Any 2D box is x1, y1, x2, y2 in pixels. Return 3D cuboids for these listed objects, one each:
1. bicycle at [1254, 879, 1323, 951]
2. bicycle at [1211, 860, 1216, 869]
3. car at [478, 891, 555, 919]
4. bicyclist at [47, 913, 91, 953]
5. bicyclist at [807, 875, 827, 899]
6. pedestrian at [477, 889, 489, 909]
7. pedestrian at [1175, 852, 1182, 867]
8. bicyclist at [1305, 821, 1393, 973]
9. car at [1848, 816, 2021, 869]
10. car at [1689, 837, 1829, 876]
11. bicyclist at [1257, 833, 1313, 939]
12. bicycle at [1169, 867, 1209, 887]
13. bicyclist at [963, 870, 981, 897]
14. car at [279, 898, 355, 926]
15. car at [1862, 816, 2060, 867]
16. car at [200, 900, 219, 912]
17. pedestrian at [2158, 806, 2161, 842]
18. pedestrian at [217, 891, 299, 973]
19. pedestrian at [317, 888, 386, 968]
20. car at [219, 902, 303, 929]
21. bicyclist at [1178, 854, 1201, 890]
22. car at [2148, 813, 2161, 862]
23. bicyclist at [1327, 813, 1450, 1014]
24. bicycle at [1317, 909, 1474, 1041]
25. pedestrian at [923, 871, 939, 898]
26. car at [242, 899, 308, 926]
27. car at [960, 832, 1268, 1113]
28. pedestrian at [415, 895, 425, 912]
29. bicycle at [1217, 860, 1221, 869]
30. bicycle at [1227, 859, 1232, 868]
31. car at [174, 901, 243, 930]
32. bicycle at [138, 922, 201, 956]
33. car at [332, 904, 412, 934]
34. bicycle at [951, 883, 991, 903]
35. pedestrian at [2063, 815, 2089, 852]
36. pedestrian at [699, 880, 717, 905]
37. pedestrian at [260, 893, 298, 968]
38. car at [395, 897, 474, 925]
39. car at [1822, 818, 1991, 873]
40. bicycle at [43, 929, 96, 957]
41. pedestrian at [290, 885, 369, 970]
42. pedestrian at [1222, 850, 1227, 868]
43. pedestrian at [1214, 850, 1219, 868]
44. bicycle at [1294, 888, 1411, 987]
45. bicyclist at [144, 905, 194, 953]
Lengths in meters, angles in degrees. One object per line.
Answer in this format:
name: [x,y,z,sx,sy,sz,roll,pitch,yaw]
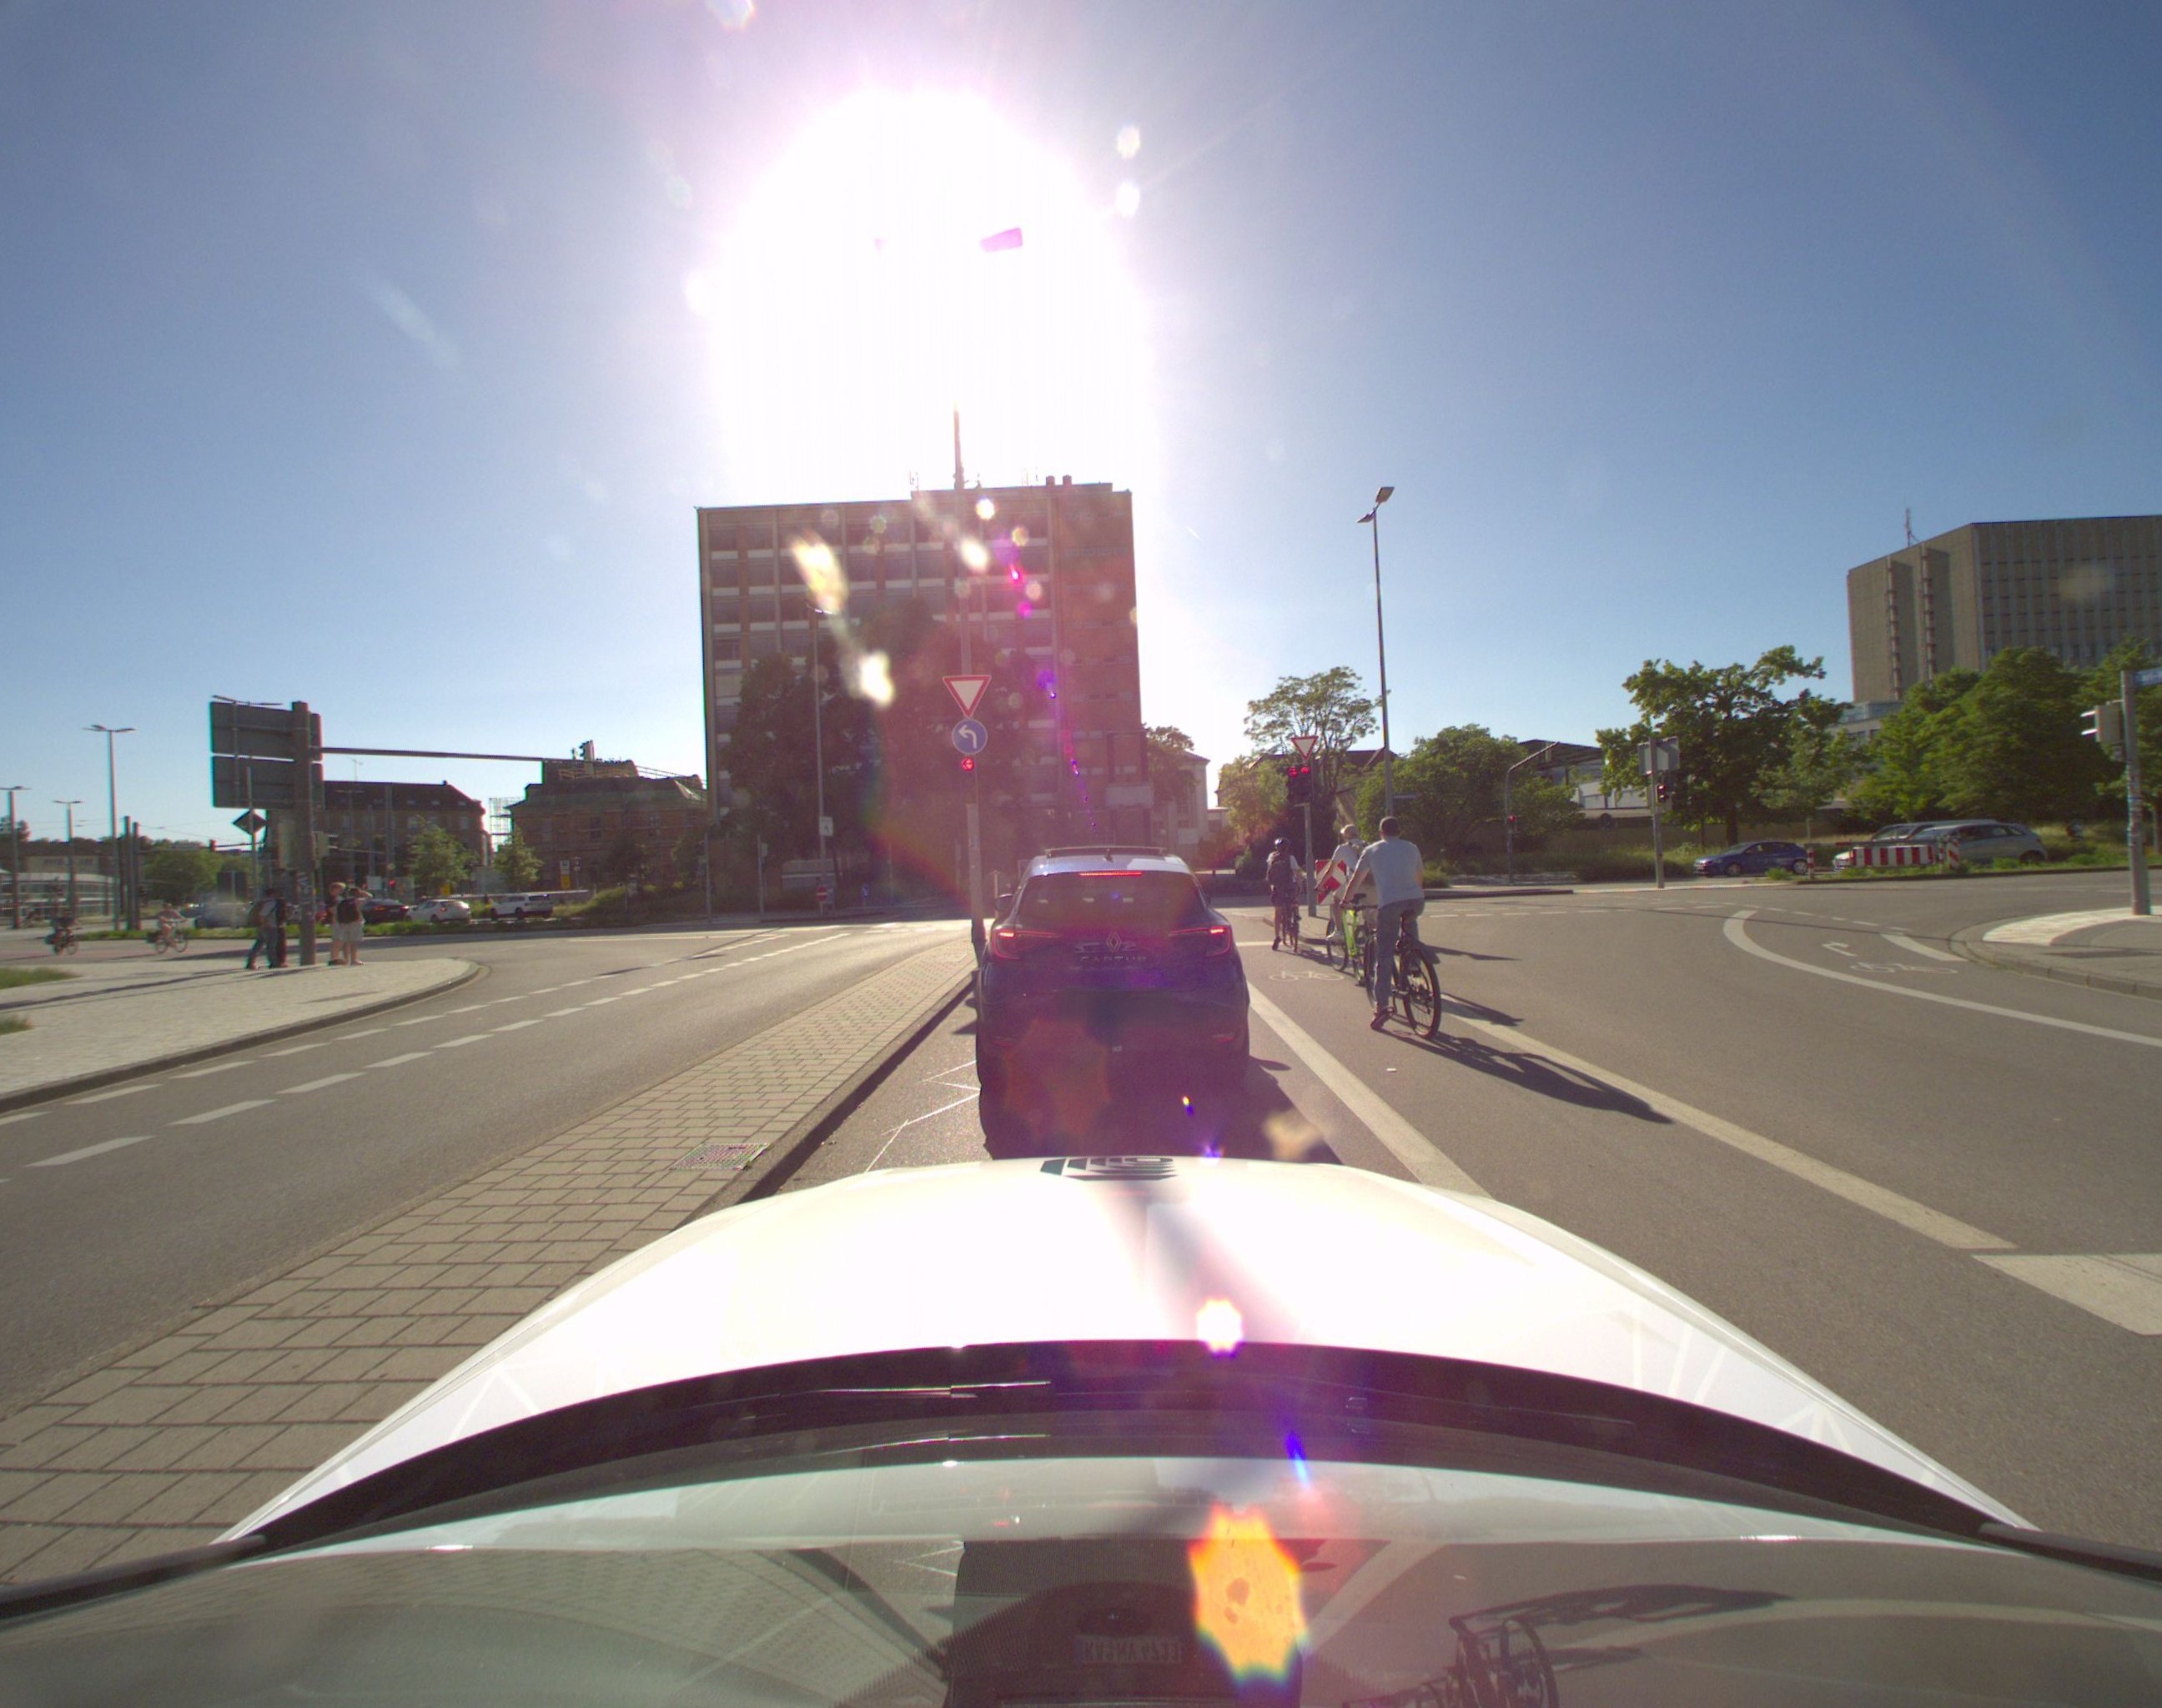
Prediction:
bicycle: [3.249,0.927,12.936,0.735,0.995,2.177,0,-1,6]
bicycle: [15.259,1.227,93.883,0.403,0.973,1.686,0,-1,6]
car: [-36.437,3.270,52.538,4.779,1.632,1.855,-2,-1,25]
bicyclist: [-38.834,3.030,31.245,1.114,1.422,0.691,-5,-1,21]
bicyclist: [-16.517,2.066,50.928,0.928,1.429,0.601,-3,-1,21]
pedestrian: [-49.220,3.709,67.018,0.541,1.615,0.653,-3,-1,41]
pedestrian: [12.111,0.658,101.271,0.623,1.856,0.562,-2,-1,-7]
bicyclist: [3.217,0.493,9.852,0.644,1.739,1.065,0,-1,-4]
car: [35.253,-0.441,33.763,4.856,2.107,2.002,0,-1,4]
car: [28.219,0.100,34.011,4.140,1.435,1.747,-2,-1,8]
bicyclist: [3.240,0.500,12.990,0.722,1.629,0.970,0,-1,6]
bicycle: [5.801,1.219,43.789,2.067,0.930,0.698,-3,1,12]
bicyclist: [-5.888,1.595,44.056,0.741,1.441,0.593,-2,-1,-25]
car: [-48.457,3.682,51.651,4.334,1.632,1.854,-3,-1,23]
car: [28.141,-0.381,26.169,4.025,1.408,1.872,-2,-1,8]
car: [-162.656,9.730,151.970,3.948,2.013,2.013,-3,-1,38]
pedestrian: [53.391,-1.474,39.867,0.558,1.778,0.529,-2,-1,7]
pedestrian: [-18.222,1.705,18.050,0.900,1.690,0.839,-4,-3,-3]
pedestrian: [-16.364,1.640,18.278,0.786,1.690,0.792,-5,-3,15]
car: [-49.012,3.675,48.664,4.841,1.388,1.854,-3,-1,23]
bicyclist: [5.838,0.954,43.695,1.094,1.867,0.655,-3,-1,12]
car: [36.987,-0.624,25.352,4.713,1.584,2.002,-2,-1,3]
bicyclist: [2.715,0.503,7.298,0.748,1.668,1.017,0,-1,3]
bicycle: [2.722,1.004,7.299,0.737,0.896,1.980,0,-1,3]
pedestrian: [-9.098,1.860,49.368,0.732,1.603,0.601,-3,-1,14]
car: [-53.814,3.918,54.377,4.331,1.632,1.855,-3,-1,27]
car: [0.205,0.708,6.805,1.798,1.632,3.999,-1,0,0]
pedestrian: [-70.466,5.304,86.801,0.671,1.735,0.663,-3,-1,32]
bicycle: [15.876,1.222,93.825,0.403,0.973,1.686,0,-1,6]
bicycle: [17.189,1.071,94.176,0.403,0.973,1.686,0,-1,6]
car: [-55.160,3.904,51.474,4.331,1.632,1.855,-3,-1,27]
bicycle: [-31.307,2.921,27.967,1.967,0.995,0.745,-5,-1,21]
car: [-42.561,3.918,48.898,4.334,1.632,1.854,-3,-1,23]
bicycle: [-5.926,2.111,44.029,2.016,0.964,0.593,-2,-1,-25]
pedestrian: [48.640,-0.998,39.811,0.559,1.778,0.528,-2,-1,5]
pedestrian: [-25.451,2.627,55.629,0.852,1.571,0.562,-6,-1,24]
pedestrian: [-19.156,1.810,19.457,0.600,1.729,0.572,-2,-1,-45]
car: [-36.388,3.197,45.836,3.803,1.435,1.752,-2,-1,21]
car: [30.823,-0.292,30.538,3.962,1.815,2.006,-2,-1,10]
bicycle: [-38.808,3.412,31.232,1.967,0.918,0.691,-5,-1,22]
pedestrian: [-17.100,1.653,18.535,0.696,1.800,1.110,-6,-3,29]
pedestrian: [16.215,0.600,92.186,0.473,2.014,0.469,-2,-1,8]
pedestrian: [15.103,0.598,90.860,0.473,2.014,0.524,-2,-1,8]
bicycle: [3.216,0.954,9.854,0.657,1.003,1.967,0,-1,-4]
bicyclist: [-31.327,2.571,27.971,1.060,1.500,0.745,-5,-1,19]
